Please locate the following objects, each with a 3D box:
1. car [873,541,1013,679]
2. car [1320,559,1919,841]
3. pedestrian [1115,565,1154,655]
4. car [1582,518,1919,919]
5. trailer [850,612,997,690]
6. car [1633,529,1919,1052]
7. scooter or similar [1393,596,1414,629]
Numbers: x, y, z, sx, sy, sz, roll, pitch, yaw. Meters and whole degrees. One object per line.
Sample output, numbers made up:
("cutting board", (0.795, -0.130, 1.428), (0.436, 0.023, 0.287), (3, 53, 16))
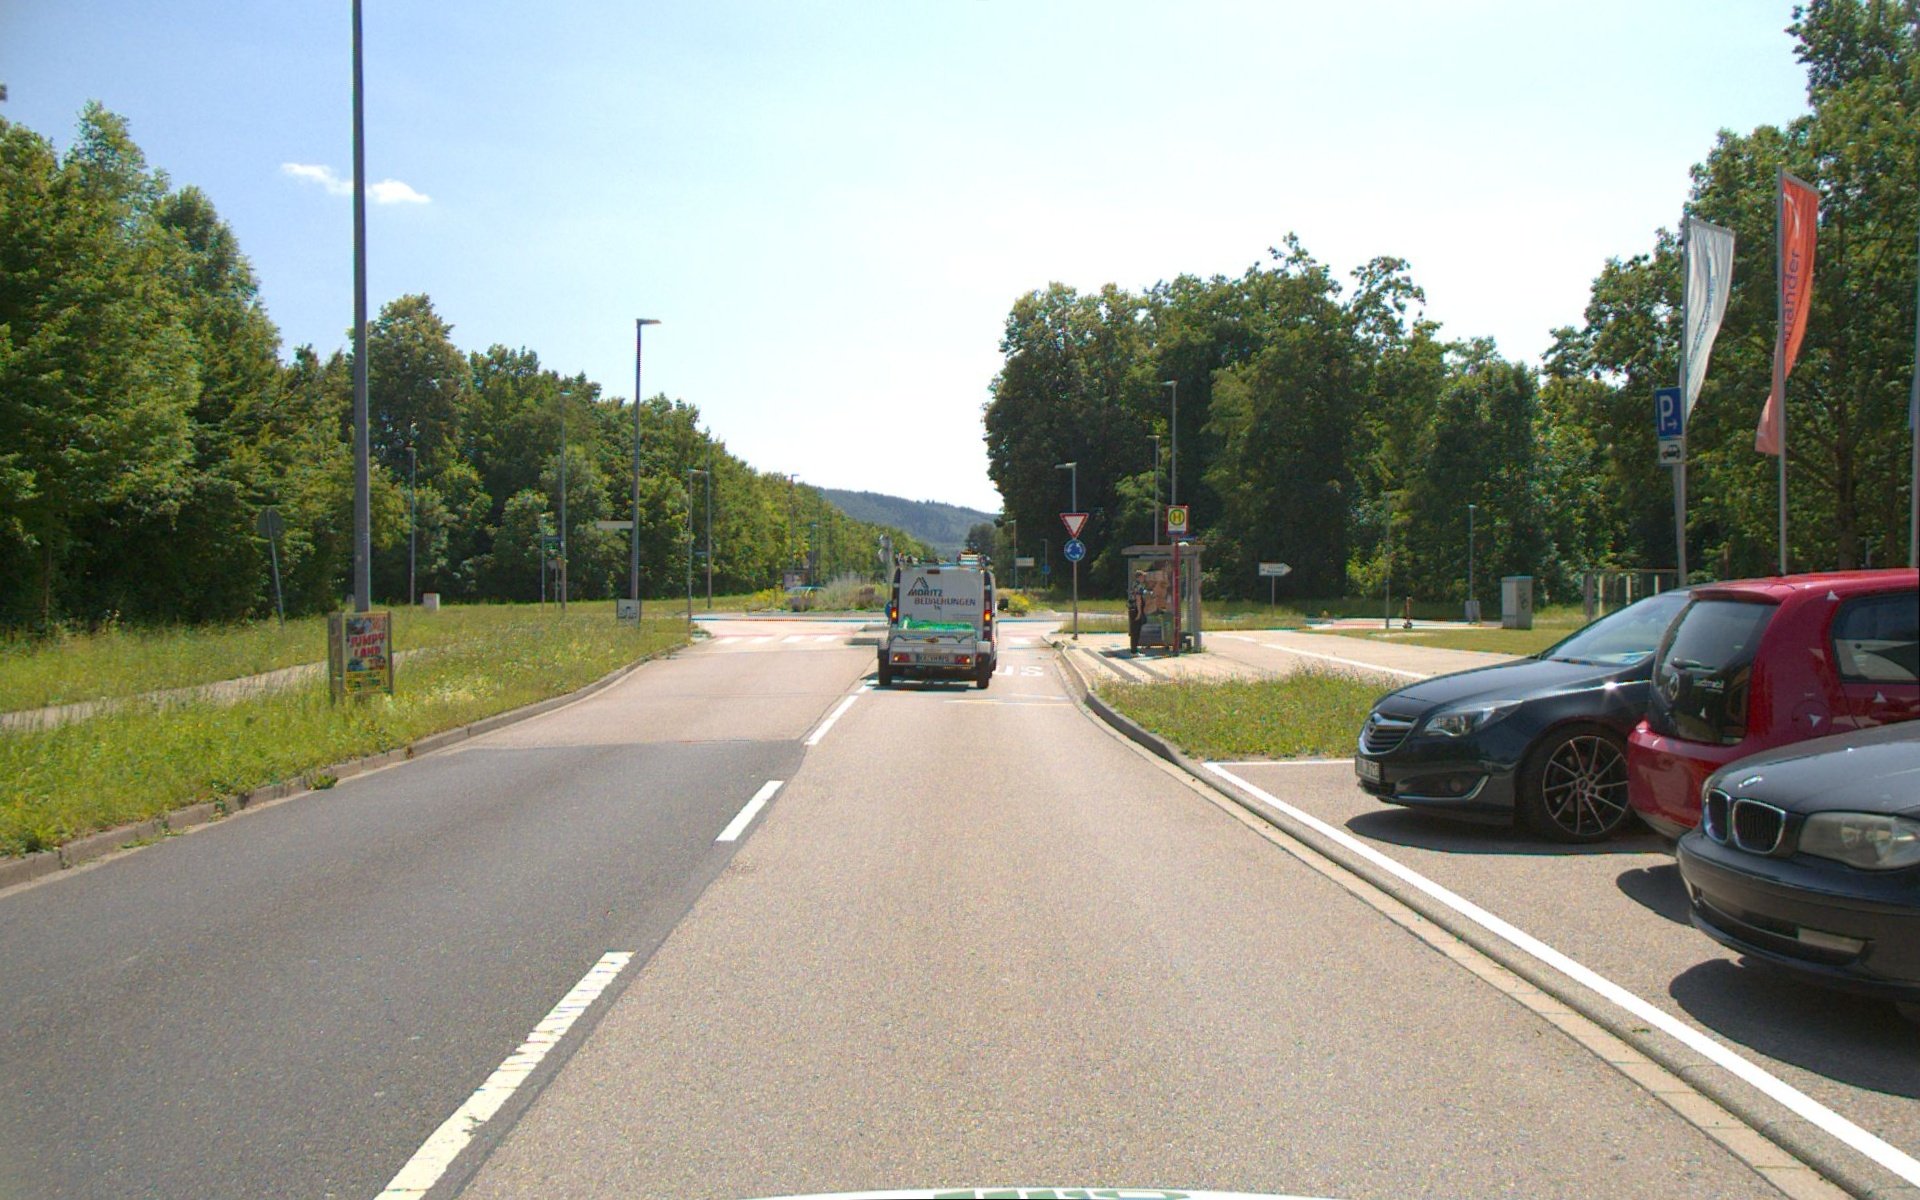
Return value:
("car", (-0.220, 0.164, 31.192), (2.120, 2.357, 4.984), (1, 0, 5))
("car", (4.656, 0.522, 10.101), (4.475, 1.457, 1.827), (-2, 0, -1))
("pedestrian", (3.712, 0.210, 35.311), (0.693, 1.854, 0.826), (-2, 0, 1))
("car", (5.238, 0.487, 7.832), (3.904, 1.684, 1.840), (0, 0, 2))
("trailer", (-0.530, 0.791, 27.005), (2.077, 1.116, 3.356), (1, 0, 4))
("car", (4.466, 0.518, 5.561), (3.728, 1.512, 1.656), (-1, 0, 2))
("scooter or similar", (16.596, 0.473, 61.864), (0.438, 1.222, 1.397), (1, 0, 28))
